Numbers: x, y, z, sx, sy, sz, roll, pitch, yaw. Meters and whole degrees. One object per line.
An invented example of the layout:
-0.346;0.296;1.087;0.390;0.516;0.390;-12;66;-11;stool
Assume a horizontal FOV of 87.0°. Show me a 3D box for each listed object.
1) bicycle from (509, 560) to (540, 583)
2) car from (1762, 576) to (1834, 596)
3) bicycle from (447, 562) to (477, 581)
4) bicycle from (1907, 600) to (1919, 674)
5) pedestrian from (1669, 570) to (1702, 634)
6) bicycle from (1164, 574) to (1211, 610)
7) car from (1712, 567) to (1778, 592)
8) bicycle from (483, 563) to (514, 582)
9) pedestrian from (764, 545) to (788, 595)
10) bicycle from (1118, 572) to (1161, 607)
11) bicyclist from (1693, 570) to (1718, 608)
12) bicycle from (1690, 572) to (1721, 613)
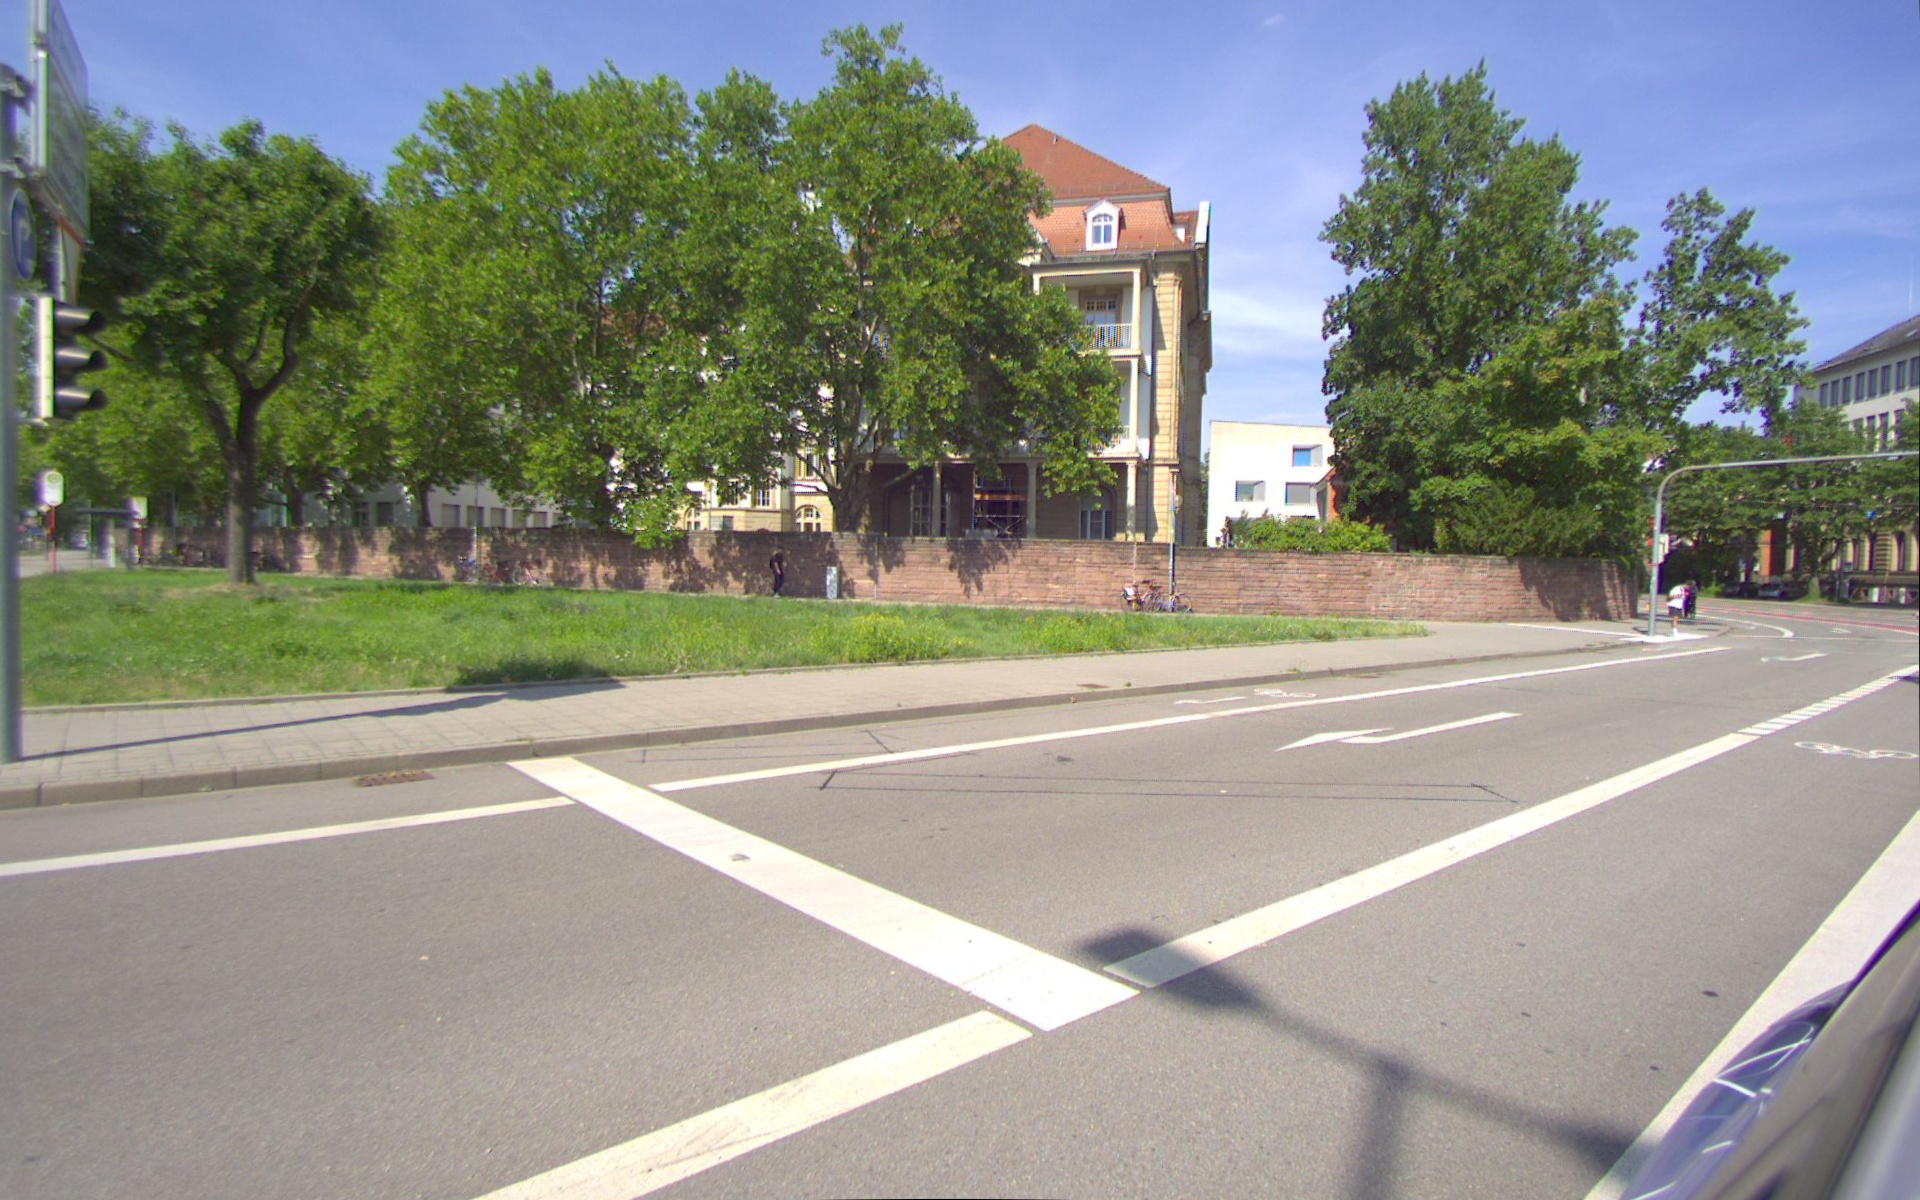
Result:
-17.617;-1.156;40.940;1.294;0.866;0.369;3;2;25;bicycle
68.484;-1.138;82.743;3.941;1.482;1.992;2;2;14;car
-20.636;-1.185;41.931;1.350;0.737;0.338;3;2;23;bicycle
16.431;0.654;16.693;0.681;1.237;2.163;3;3;31;bicycle
22.448;0.050;31.333;0.649;1.897;0.788;4;3;31;pedestrian
7.450;-0.266;33.148;1.406;1.136;0.350;1;2;-6;bicycle
68.706;-1.838;88.613;3.941;2.038;1.992;2;2;14;car
-18.986;-1.135;41.591;1.350;0.737;0.338;3;2;23;bicycle
-6.629;-1.095;36.438;0.592;1.761;0.616;2;2;20;pedestrian
5.858;-0.334;33.052;1.406;1.136;0.350;0;2;-27;bicycle
33.391;-0.500;45.322;0.903;1.675;0.679;0;3;-41;bicyclist
33.387;-0.336;45.316;1.779;1.787;0.679;0;3;-41;bicycle
